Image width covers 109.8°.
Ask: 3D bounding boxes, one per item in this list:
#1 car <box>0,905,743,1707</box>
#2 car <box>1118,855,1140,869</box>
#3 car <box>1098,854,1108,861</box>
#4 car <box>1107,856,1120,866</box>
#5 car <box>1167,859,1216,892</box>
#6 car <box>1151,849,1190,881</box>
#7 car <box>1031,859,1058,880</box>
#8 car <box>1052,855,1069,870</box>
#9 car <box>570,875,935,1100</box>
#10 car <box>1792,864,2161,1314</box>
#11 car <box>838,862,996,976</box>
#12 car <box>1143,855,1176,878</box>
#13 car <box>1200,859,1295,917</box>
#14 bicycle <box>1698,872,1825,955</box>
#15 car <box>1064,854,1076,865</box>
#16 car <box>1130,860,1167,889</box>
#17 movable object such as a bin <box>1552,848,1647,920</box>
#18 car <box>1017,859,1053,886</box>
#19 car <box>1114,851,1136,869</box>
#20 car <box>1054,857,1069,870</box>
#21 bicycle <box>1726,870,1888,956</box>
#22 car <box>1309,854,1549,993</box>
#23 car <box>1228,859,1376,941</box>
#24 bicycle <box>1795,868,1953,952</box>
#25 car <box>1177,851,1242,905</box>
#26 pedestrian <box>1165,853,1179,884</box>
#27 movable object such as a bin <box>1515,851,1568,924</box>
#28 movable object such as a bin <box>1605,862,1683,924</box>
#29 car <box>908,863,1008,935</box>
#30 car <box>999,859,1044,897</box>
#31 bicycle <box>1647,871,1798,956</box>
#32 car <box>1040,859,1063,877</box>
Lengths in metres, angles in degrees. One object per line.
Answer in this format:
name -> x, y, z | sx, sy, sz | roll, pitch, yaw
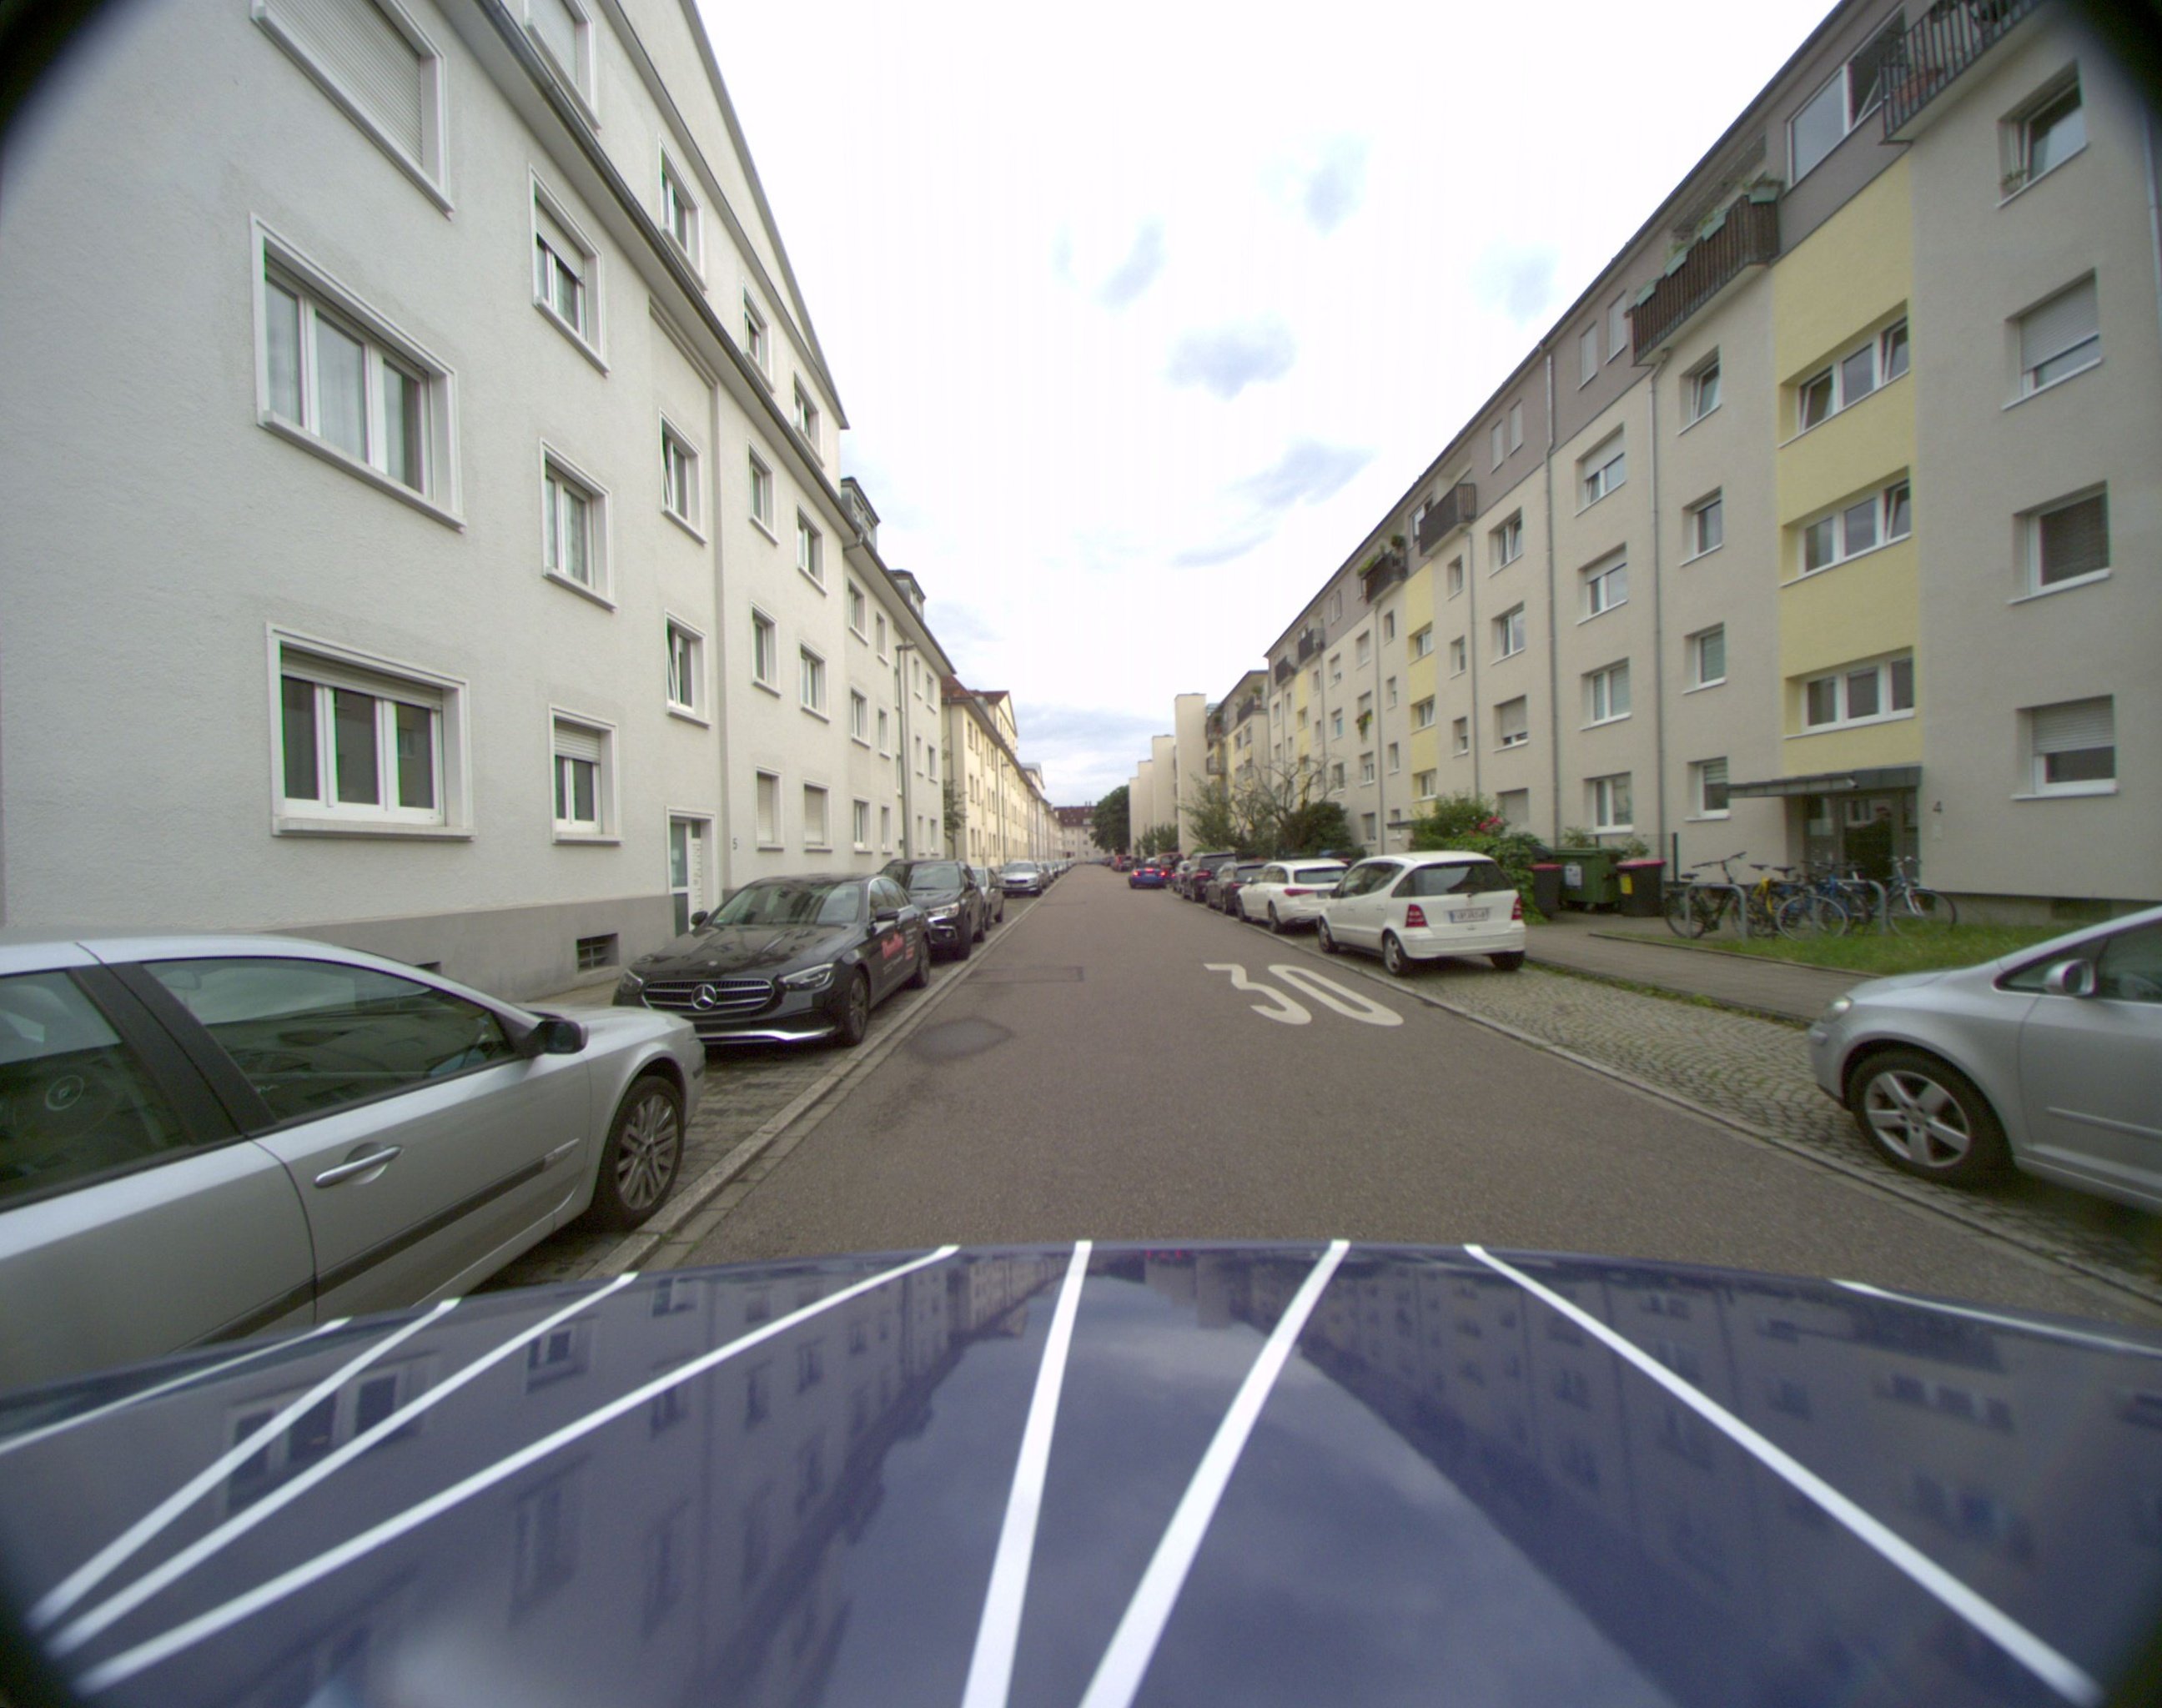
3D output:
car -> -2.705, 1.010, 1.950 | 1.737, 1.454, 4.430 | -1, 0, -1
car -> 5.338, 0.924, 85.492 | 2.013, 1.436, 4.197 | -2, -1, -2
car -> 5.189, 0.923, 179.905 | 1.745, 1.534, 3.636 | -2, 0, -6
car -> 5.575, 1.180, 130.694 | 1.745, 1.534, 3.636 | -2, 0, -6
car -> 5.005, 0.960, 34.780 | 1.575, 1.388, 3.542 | -2, -1, -2
car -> 5.287, 0.655, 45.334 | 1.707, 1.795, 3.542 | -2, -1, -2
car -> -2.566, 1.077, 54.035 | 1.737, 1.402, 4.217 | -1, 0, -1
car -> -2.203, 0.906, 80.924 | 1.737, 1.443, 4.217 | -1, 0, -1
car -> -2.730, 1.001, 7.533 | 1.786, 1.454, 4.322 | -1, 0, -1
car -> 4.723, 0.859, 2.187 | 1.658, 1.541, 3.916 | -3, 0, 1
car -> -2.594, 0.961, 13.036 | 1.853, 1.589, 4.160 | -1, 0, -1
car -> 5.293, 0.827, 51.522 | 1.707, 1.436, 3.542 | -2, -1, -2
car -> 4.666, 0.894, 21.941 | 1.729, 1.445, 4.483 | -2, 0, 0
bicycle -> 9.194, 0.766, 10.328 | 0.357, 1.018, 1.497 | -2, 0, 0
car -> -1.770, 0.913, 119.745 | 1.737, 1.670, 3.591 | -1, 0, -1
car -> 3.500, 1.033, 39.999 | 1.679, 1.307, 3.908 | -2, 1, 1
movable object such as a bin -> 10.530, 0.579, 15.478 | 1.059, 1.366, 1.189 | -2, 2, -5
car -> -2.564, 0.992, 42.791 | 1.737, 1.418, 4.218 | -1, 0, 0
car -> 5.317, 0.705, 91.728 | 2.188, 2.019, 4.422 | -2, -1, -2
car -> -2.292, 1.109, 90.712 | 1.737, 1.443, 4.217 | -1, 0, -1
bicycle -> 9.690, 0.746, 10.242 | 0.479, 1.018, 1.755 | -2, 0, 0
car -> 4.757, 0.842, 11.021 | 1.689, 1.629, 3.727 | -2, 0, -1
car -> 4.653, 0.903, 16.759 | 1.723, 1.501, 4.687 | -2, -1, -2
bicycle -> 10.576, 0.711, 10.212 | 0.421, 1.018, 1.559 | -2, 0, -3
car -> 4.639, 0.846, 27.971 | 1.575, 1.769, 4.452 | -2, -1, -1
pedestrian -> 4.840, 0.767, 40.445 | 0.603, 1.657, 0.622 | -2, 0, -2
movable object such as a bin -> 9.073, 0.646, 14.972 | 0.659, 1.360, 0.587 | -2, 2, -4
movable object such as a bin -> 10.666, 0.722, 14.412 | 0.871, 1.103, 0.787 | -2, 2, -4
car -> -2.806, 0.990, 18.097 | 1.737, 1.478, 3.757 | -1, 0, 0
car -> -2.595, 1.039, 33.877 | 1.737, 1.538, 3.677 | -1, 0, -1
bicycle -> 8.715, 0.762, 10.434 | 0.489, 1.018, 1.878 | -2, 0, 0
car -> -2.374, 1.105, 61.744 | 1.737, 1.363, 4.217 | -1, 0, -1
